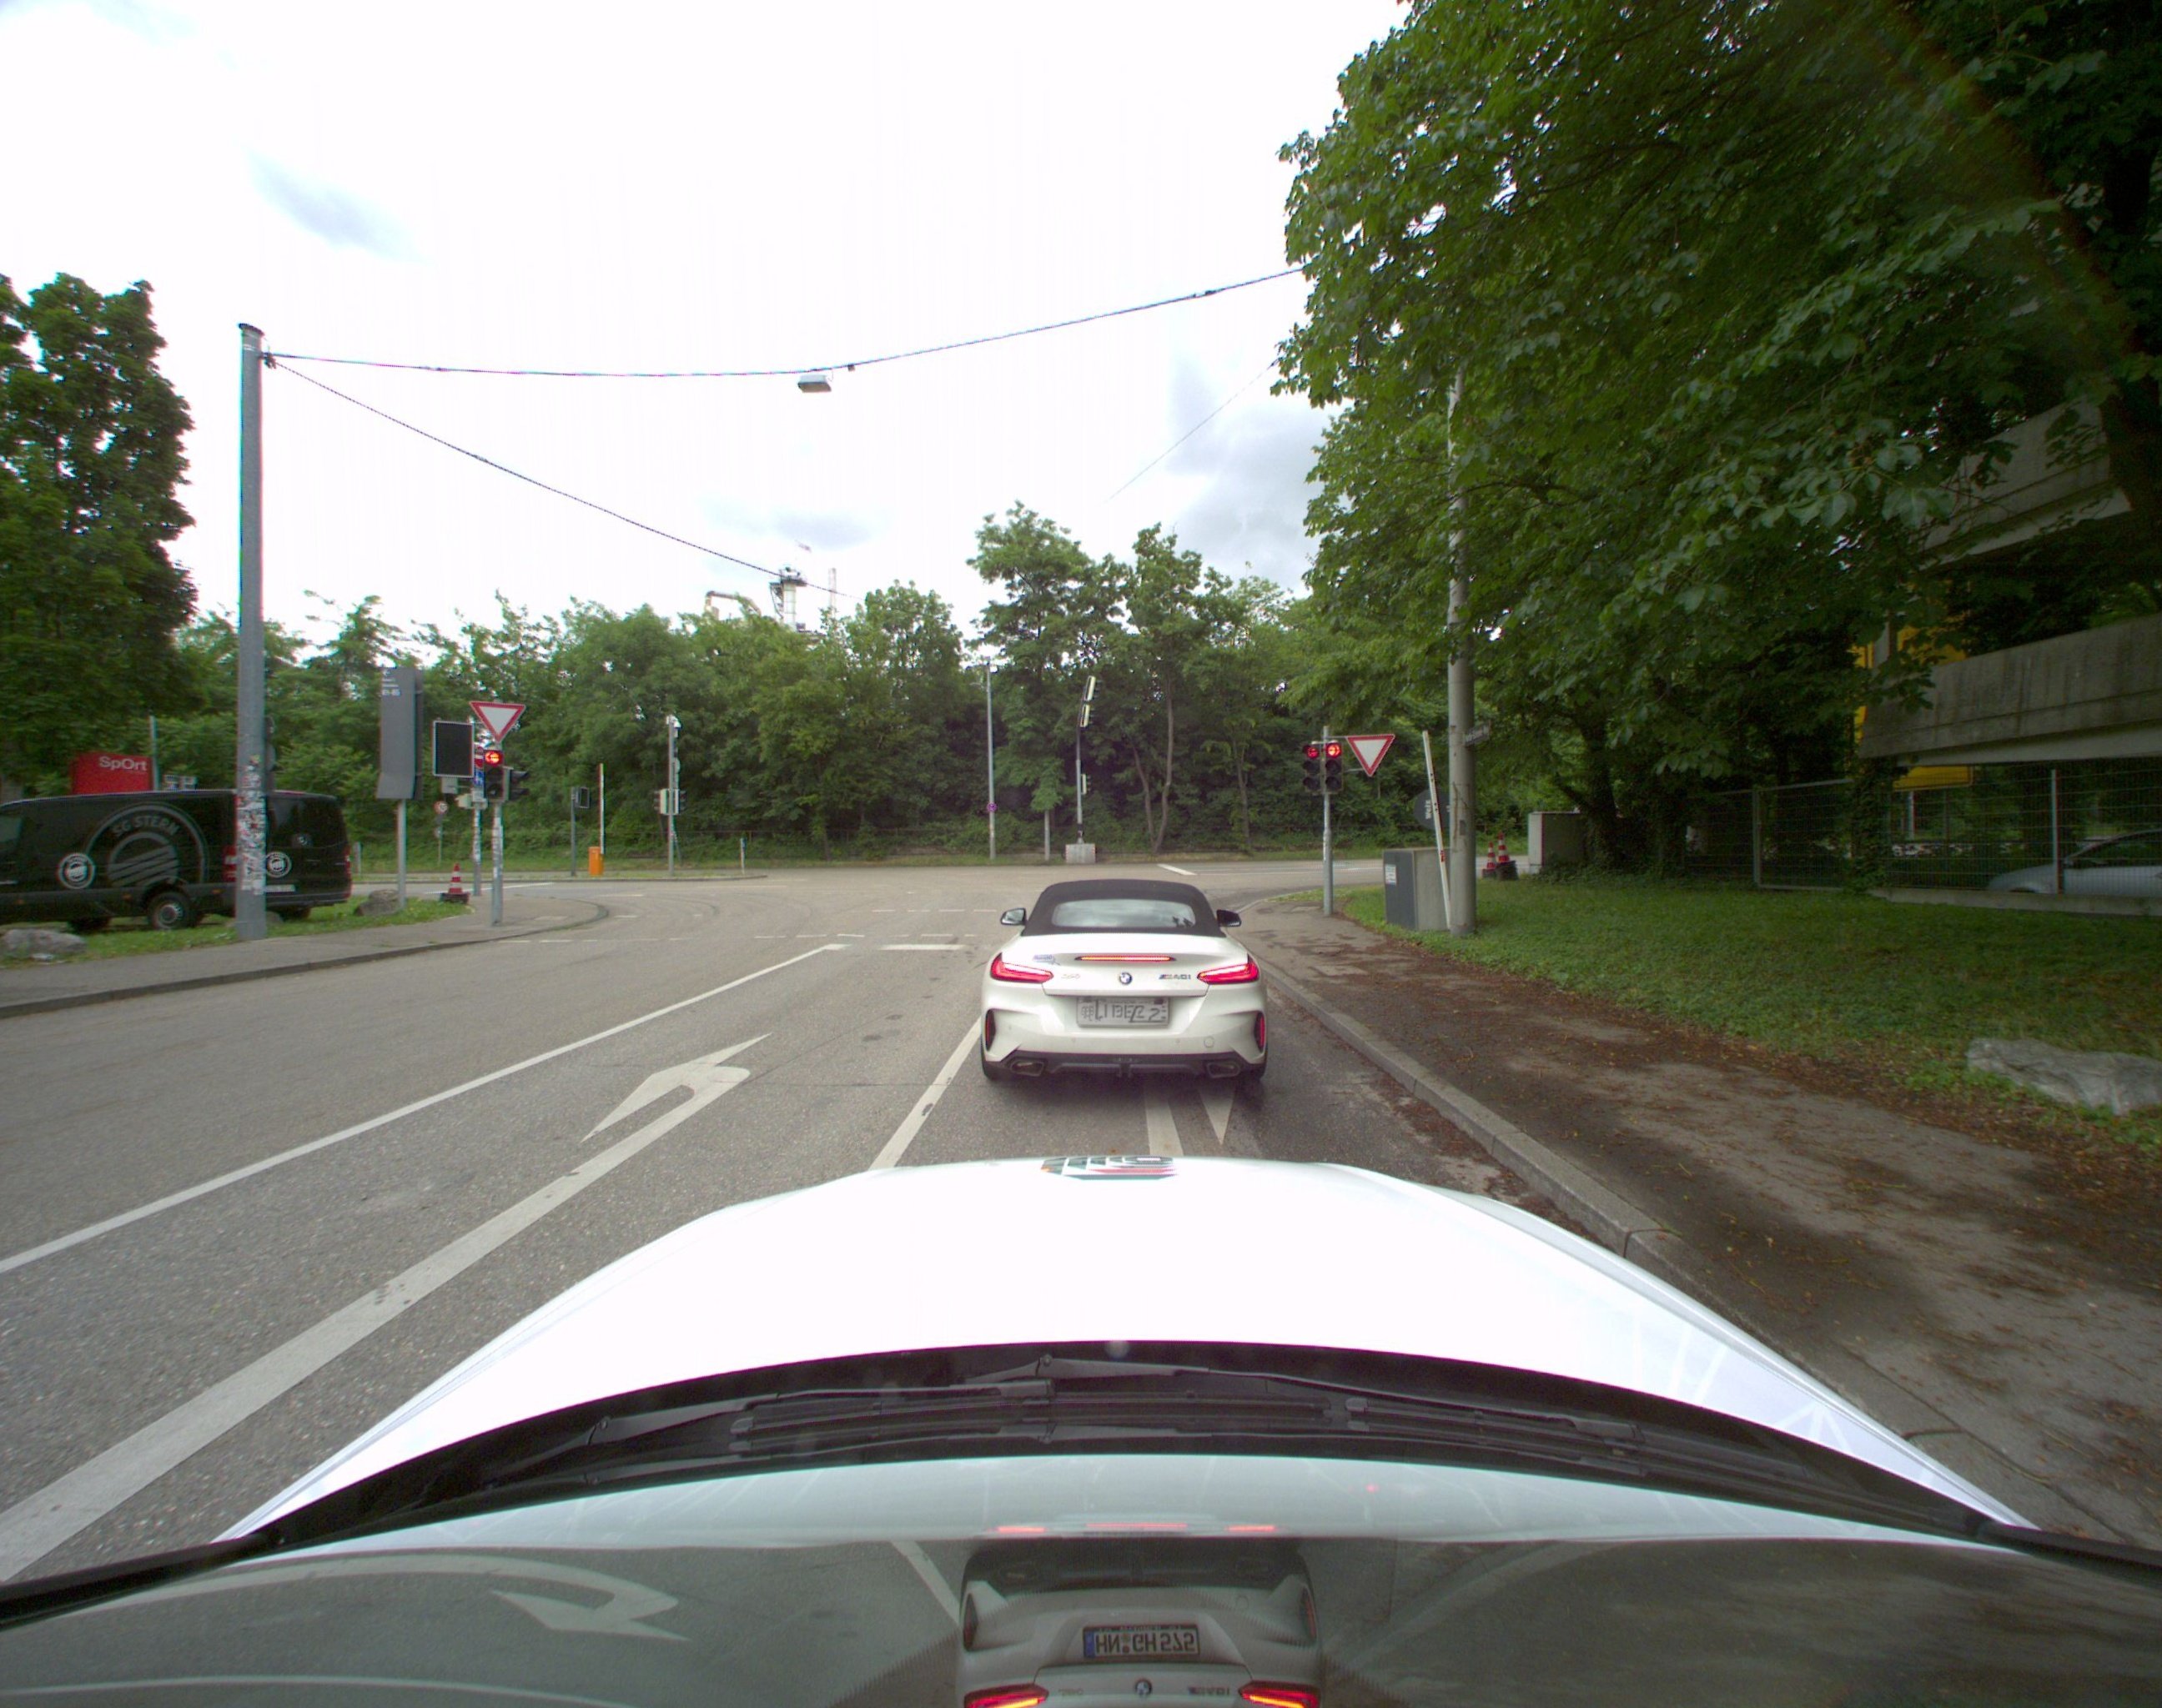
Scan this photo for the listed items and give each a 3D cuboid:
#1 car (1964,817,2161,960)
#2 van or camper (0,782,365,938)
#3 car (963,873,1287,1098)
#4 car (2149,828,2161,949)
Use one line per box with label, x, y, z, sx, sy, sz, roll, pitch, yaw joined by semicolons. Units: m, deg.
car;13.619;0.426;10.048;1.475;1.708;3.720;0;-1;2
van or camper;-15.885;0.157;13.945;5.513;2.314;2.063;-2;-2;2
car;0.248;0.789;6.583;1.822;1.257;3.998;0;-1;0
car;16.013;0.453;9.741;1.574;1.708;3.770;0;-1;2
